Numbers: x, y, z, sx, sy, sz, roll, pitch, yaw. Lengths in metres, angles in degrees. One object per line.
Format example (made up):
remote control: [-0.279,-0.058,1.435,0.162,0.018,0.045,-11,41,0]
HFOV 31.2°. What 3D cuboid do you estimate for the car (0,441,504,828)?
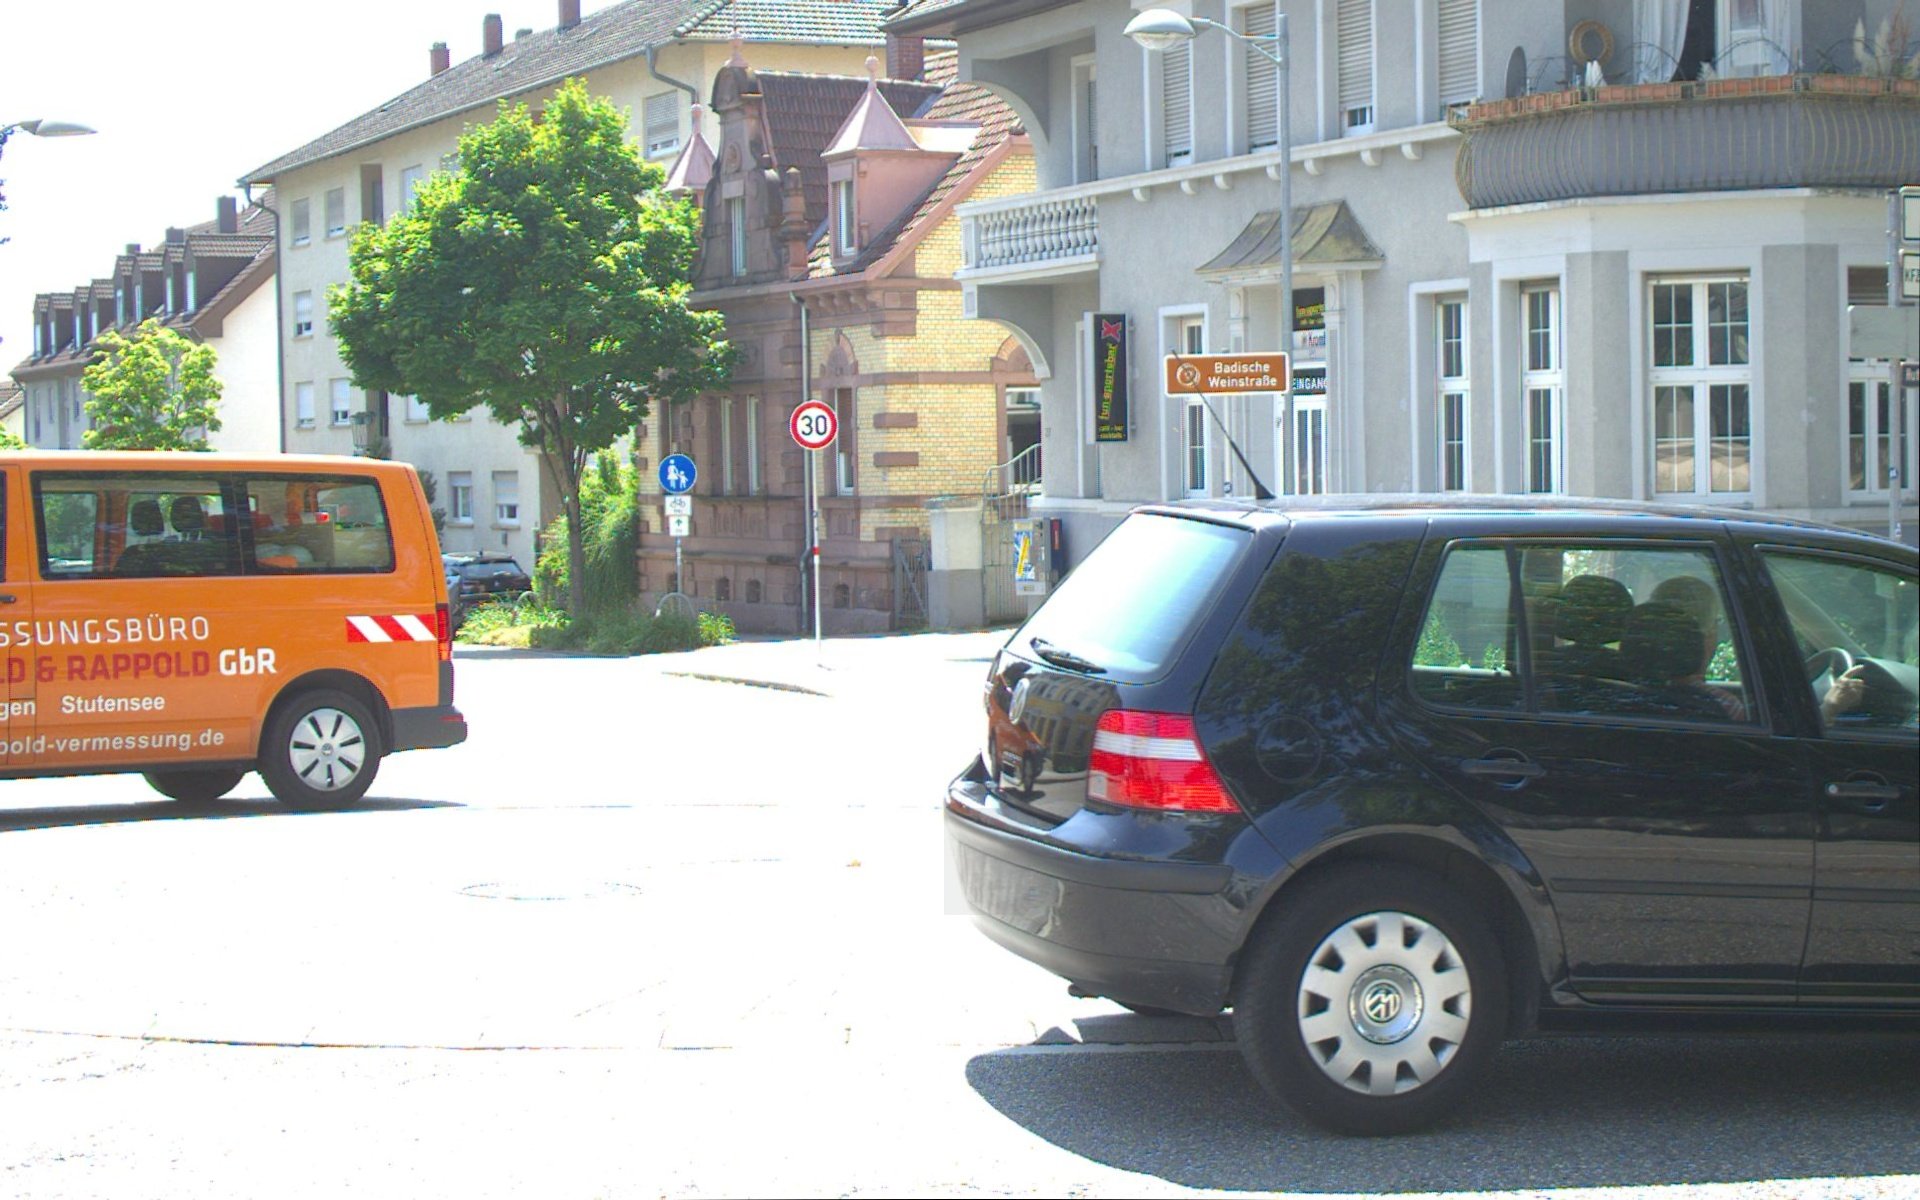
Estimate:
car: [-5.126,0.142,18.315,5.005,1.952,1.950,-2,2,-35]

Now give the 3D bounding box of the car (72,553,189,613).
car: [-21.538,-0.451,89.160,1.993,1.504,4.420,-1,1,-26]

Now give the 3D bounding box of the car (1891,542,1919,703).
car: [10.189,0.214,30.161,1.718,1.455,3.793,-1,1,-30]

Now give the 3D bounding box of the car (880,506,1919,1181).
car: [1.954,0.508,8.747,4.043,1.442,1.717,0,2,-13]

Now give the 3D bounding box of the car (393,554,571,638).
car: [-8.998,-0.110,64.424,1.993,1.504,4.420,-1,1,-26]
